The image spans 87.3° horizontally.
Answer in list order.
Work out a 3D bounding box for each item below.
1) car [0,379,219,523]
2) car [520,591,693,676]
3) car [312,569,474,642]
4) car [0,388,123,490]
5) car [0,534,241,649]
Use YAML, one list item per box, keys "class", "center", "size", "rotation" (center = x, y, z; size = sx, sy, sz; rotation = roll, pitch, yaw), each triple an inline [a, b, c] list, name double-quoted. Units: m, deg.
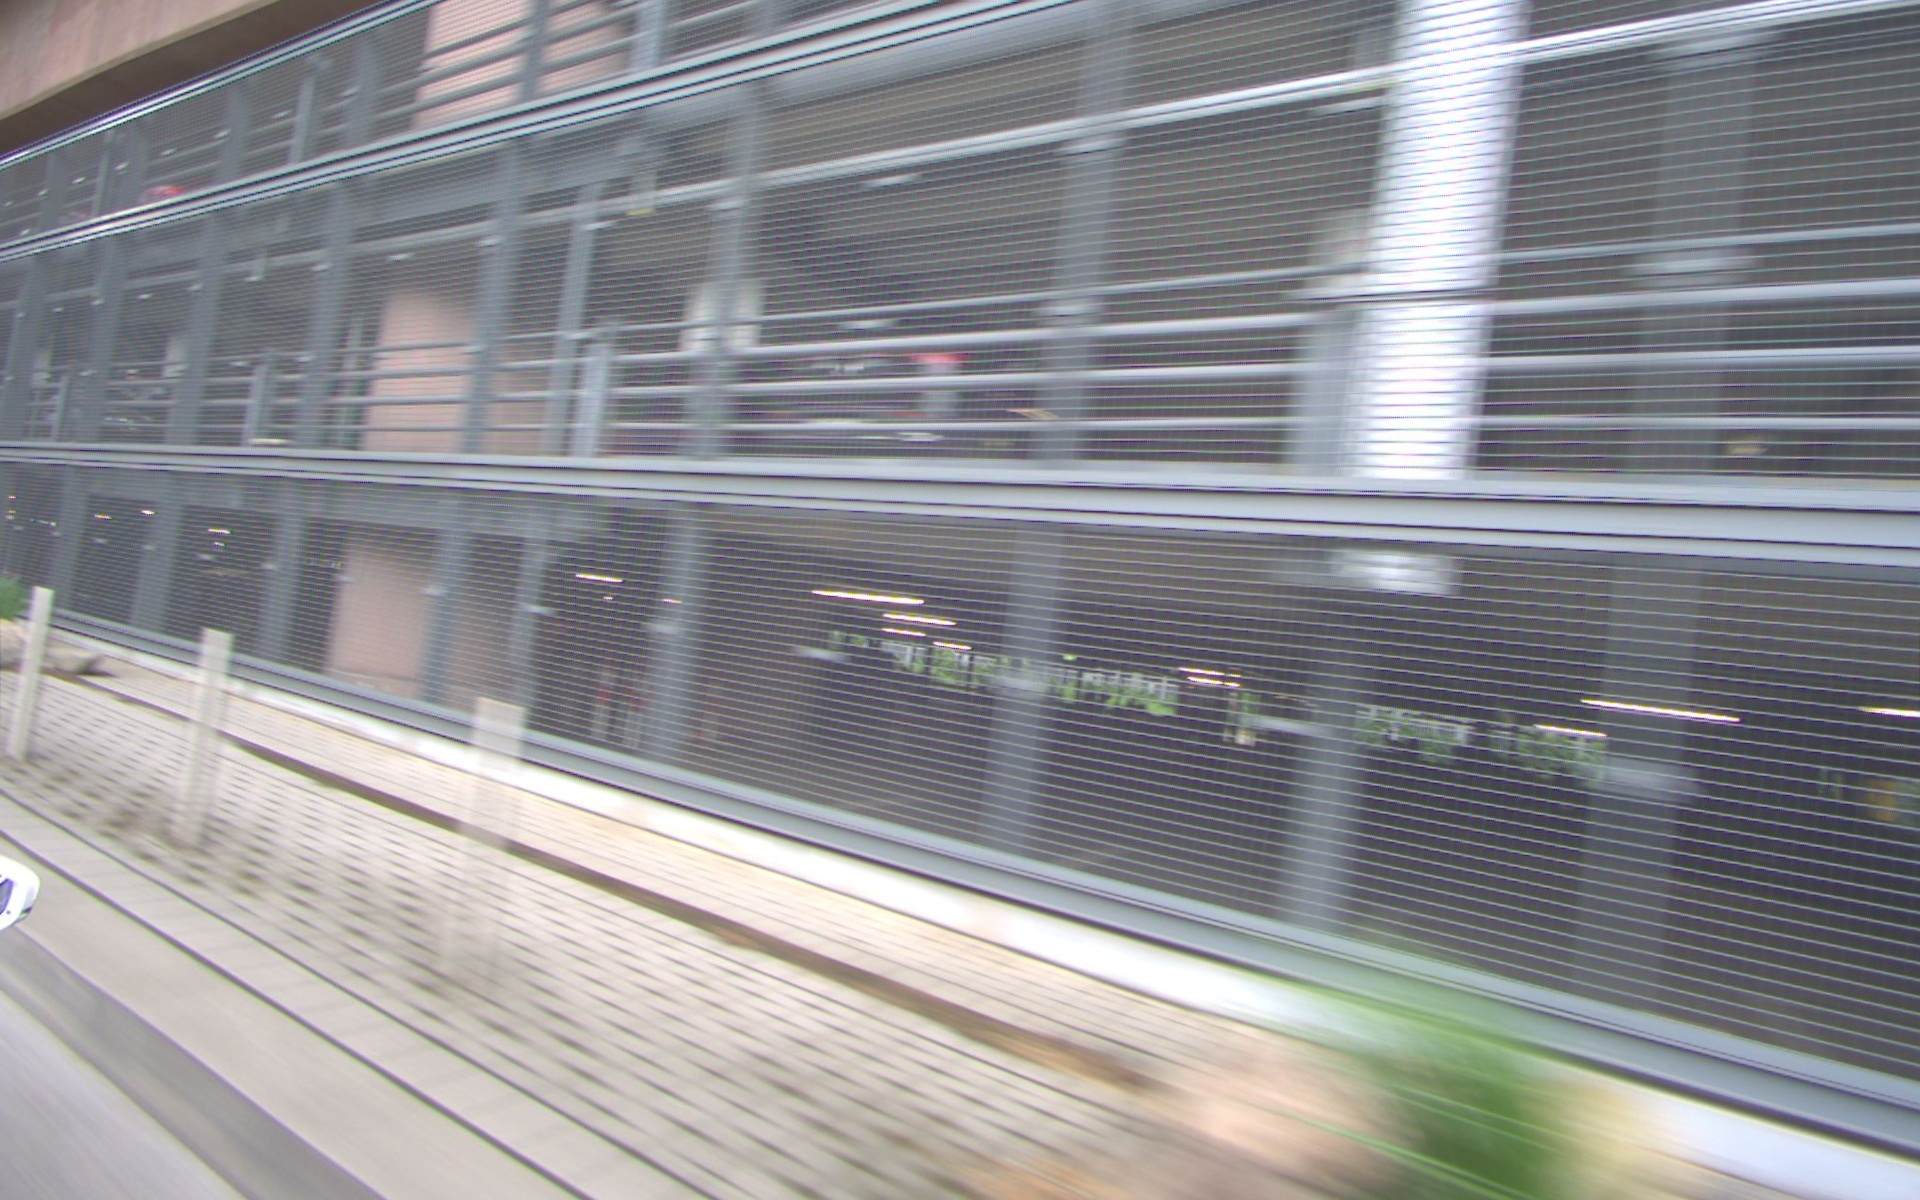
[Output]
- class: "car"
  center: [-16.721, -2.808, 18.892]
  size: [1.702, 1.887, 3.997]
  rotation: [8, -3, 32]
- class: "car"
  center: [-9.227, 0.944, 26.573]
  size: [1.693, 1.632, 3.999]
  rotation: [7, -4, 31]
- class: "car"
  center: [-17.884, 0.215, 31.895]
  size: [1.694, 1.632, 3.998]
  rotation: [7, -4, 32]
- class: "car"
  center: [-20.736, -3.655, 21.408]
  size: [1.802, 1.675, 3.996]
  rotation: [8, -3, 33]
- class: "car"
  center: [-15.312, -0.174, 17.561]
  size: [1.780, 1.482, 3.999]
  rotation: [7, -4, 31]
